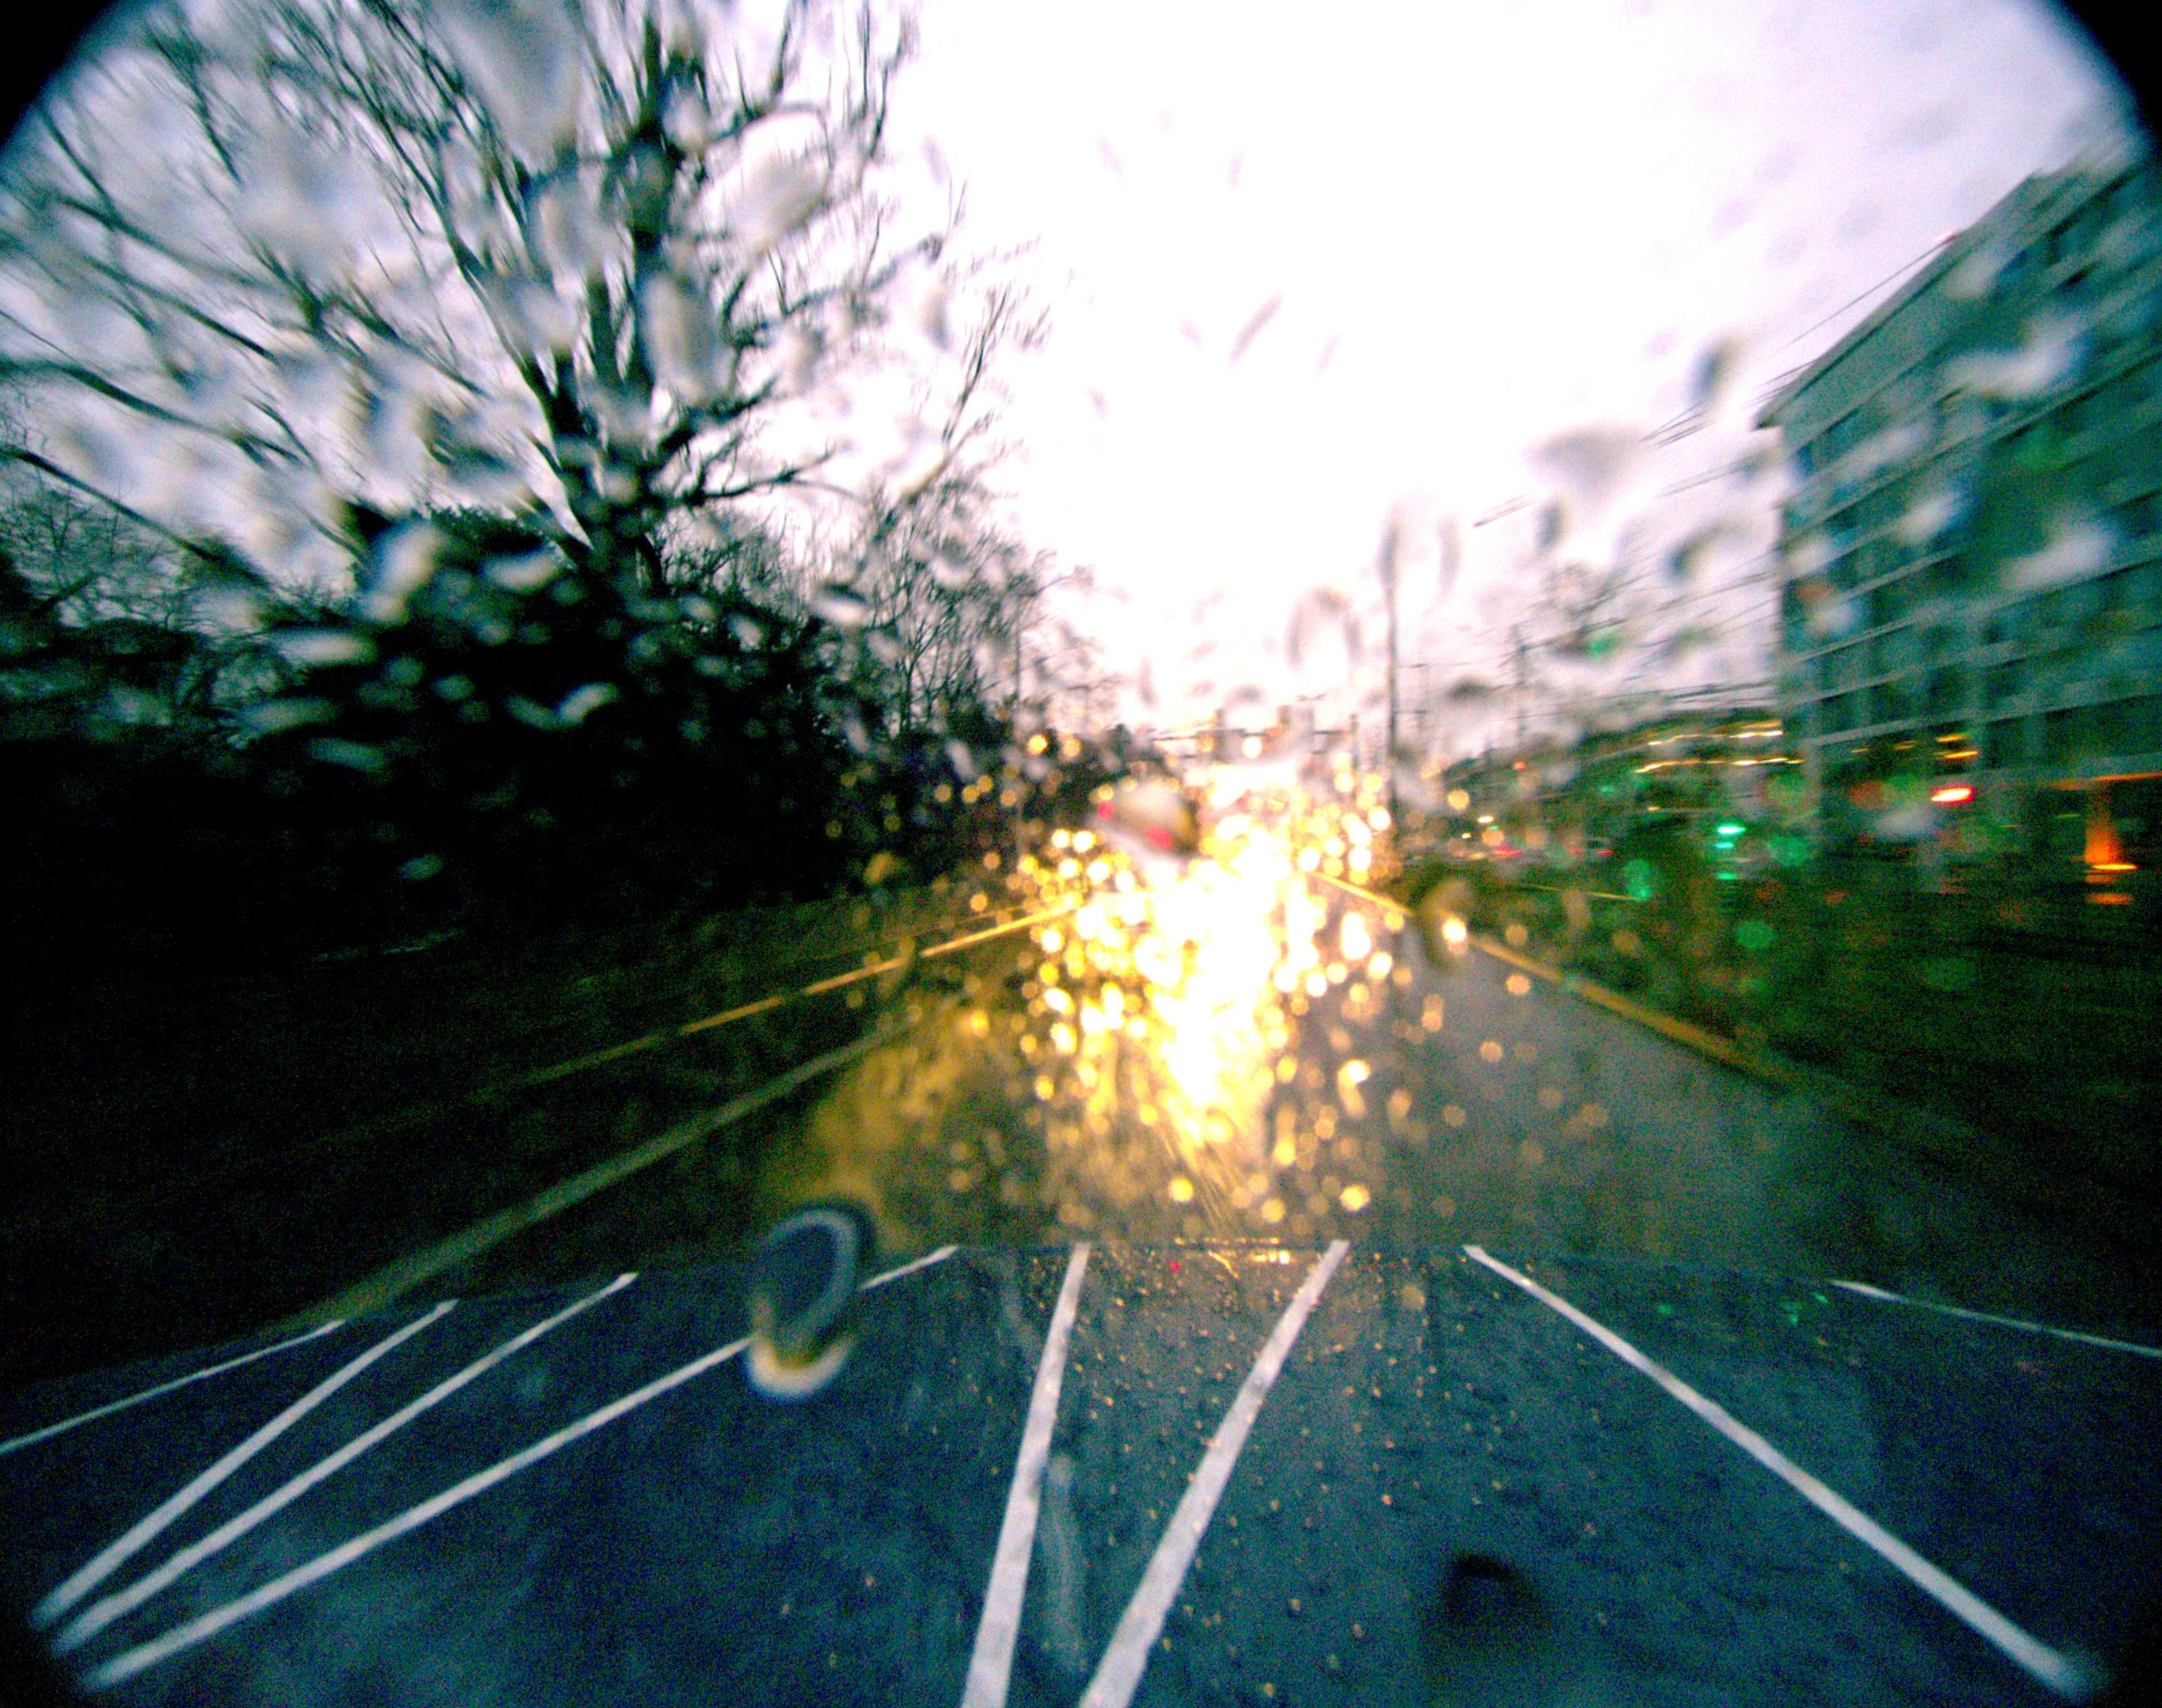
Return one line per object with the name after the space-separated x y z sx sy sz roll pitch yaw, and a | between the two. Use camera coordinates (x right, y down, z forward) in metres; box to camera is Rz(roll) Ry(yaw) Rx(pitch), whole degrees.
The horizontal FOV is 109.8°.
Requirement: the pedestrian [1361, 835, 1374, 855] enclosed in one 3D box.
26.236 -0.788 69.544 0.711 1.794 0.768 -3 2 -25 | pedestrian

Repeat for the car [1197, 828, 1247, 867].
6.621 -0.337 35.334 1.997 1.618 4.272 -3 1 13 | car

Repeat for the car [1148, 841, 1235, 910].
3.174 0.509 21.088 2.071 1.618 4.271 -3 1 11 | car

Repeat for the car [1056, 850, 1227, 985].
1.105 0.755 11.258 1.884 1.552 4.174 0 1 13 | car

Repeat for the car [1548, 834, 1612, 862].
30.530 -0.393 46.675 2.084 1.659 5.050 0 1 19 | car

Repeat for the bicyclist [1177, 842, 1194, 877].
6.680 0.345 48.524 0.967 2.210 0.936 -3 1 10 | bicyclist

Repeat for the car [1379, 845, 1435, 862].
27.472 -0.070 64.044 4.247 1.392 2.115 0 1 25 | car

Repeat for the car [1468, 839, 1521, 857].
31.602 -0.459 58.209 1.816 1.300 3.999 -1 1 -2 | car

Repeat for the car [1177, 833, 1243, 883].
4.853 0.078 28.092 2.071 1.618 4.271 -3 1 14 | car

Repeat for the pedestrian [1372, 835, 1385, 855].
26.966 -0.794 68.911 0.711 1.794 0.768 -4 2 -31 | pedestrian
